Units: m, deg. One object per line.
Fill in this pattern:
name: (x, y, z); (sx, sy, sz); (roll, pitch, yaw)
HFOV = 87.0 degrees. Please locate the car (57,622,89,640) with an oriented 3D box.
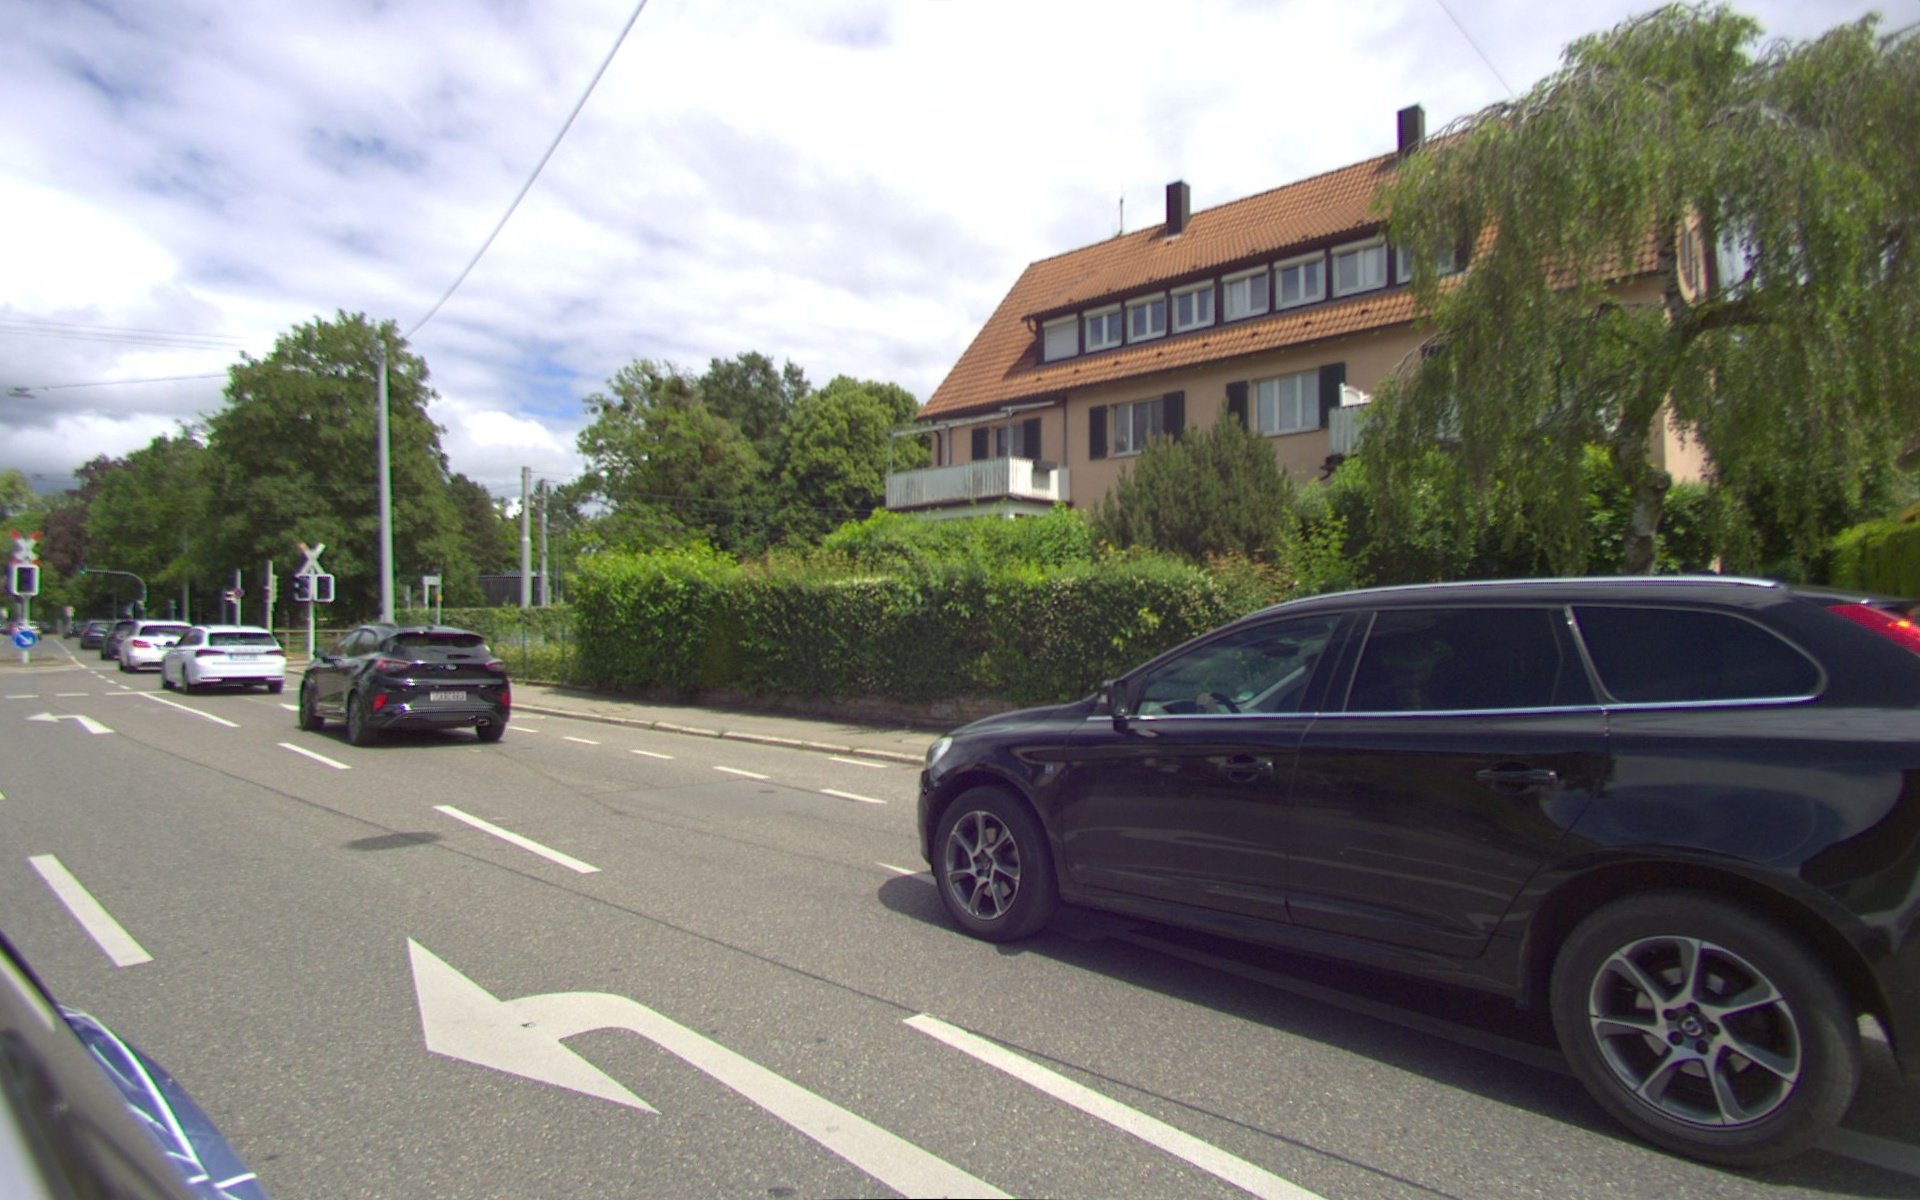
car: (-74.074, 2.600, 84.498); (1.906, 1.431, 4.003); (-1, 0, -44)

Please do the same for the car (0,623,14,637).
car: (-99.464, 3.142, 104.975); (1.906, 1.431, 4.003); (-1, 0, -44)

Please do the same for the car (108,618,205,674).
car: (-24.446, 1.345, 30.748); (4.161, 1.587, 1.826); (-1, -1, 44)

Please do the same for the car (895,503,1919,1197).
car: (1.899, 0.696, 4.206); (4.295, 1.661, 1.894); (-1, -6, 45)

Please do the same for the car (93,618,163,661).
car: (-33.789, 1.558, 41.081); (4.001, 1.604, 1.777); (-1, -1, 44)

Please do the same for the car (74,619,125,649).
car: (-47.228, 1.845, 55.517); (4.001, 1.597, 1.760); (-1, -2, 44)

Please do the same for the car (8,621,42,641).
car: (-72.636, 2.389, 78.583); (1.906, 1.431, 4.003); (-1, 0, -44)

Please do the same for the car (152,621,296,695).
car: (-16.434, 1.227, 22.500); (4.444, 1.487, 1.855); (-1, -3, 44)

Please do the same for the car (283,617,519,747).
car: (-7.602, 0.992, 13.581); (1.677, 1.467, 4.118); (3, -3, -44)
